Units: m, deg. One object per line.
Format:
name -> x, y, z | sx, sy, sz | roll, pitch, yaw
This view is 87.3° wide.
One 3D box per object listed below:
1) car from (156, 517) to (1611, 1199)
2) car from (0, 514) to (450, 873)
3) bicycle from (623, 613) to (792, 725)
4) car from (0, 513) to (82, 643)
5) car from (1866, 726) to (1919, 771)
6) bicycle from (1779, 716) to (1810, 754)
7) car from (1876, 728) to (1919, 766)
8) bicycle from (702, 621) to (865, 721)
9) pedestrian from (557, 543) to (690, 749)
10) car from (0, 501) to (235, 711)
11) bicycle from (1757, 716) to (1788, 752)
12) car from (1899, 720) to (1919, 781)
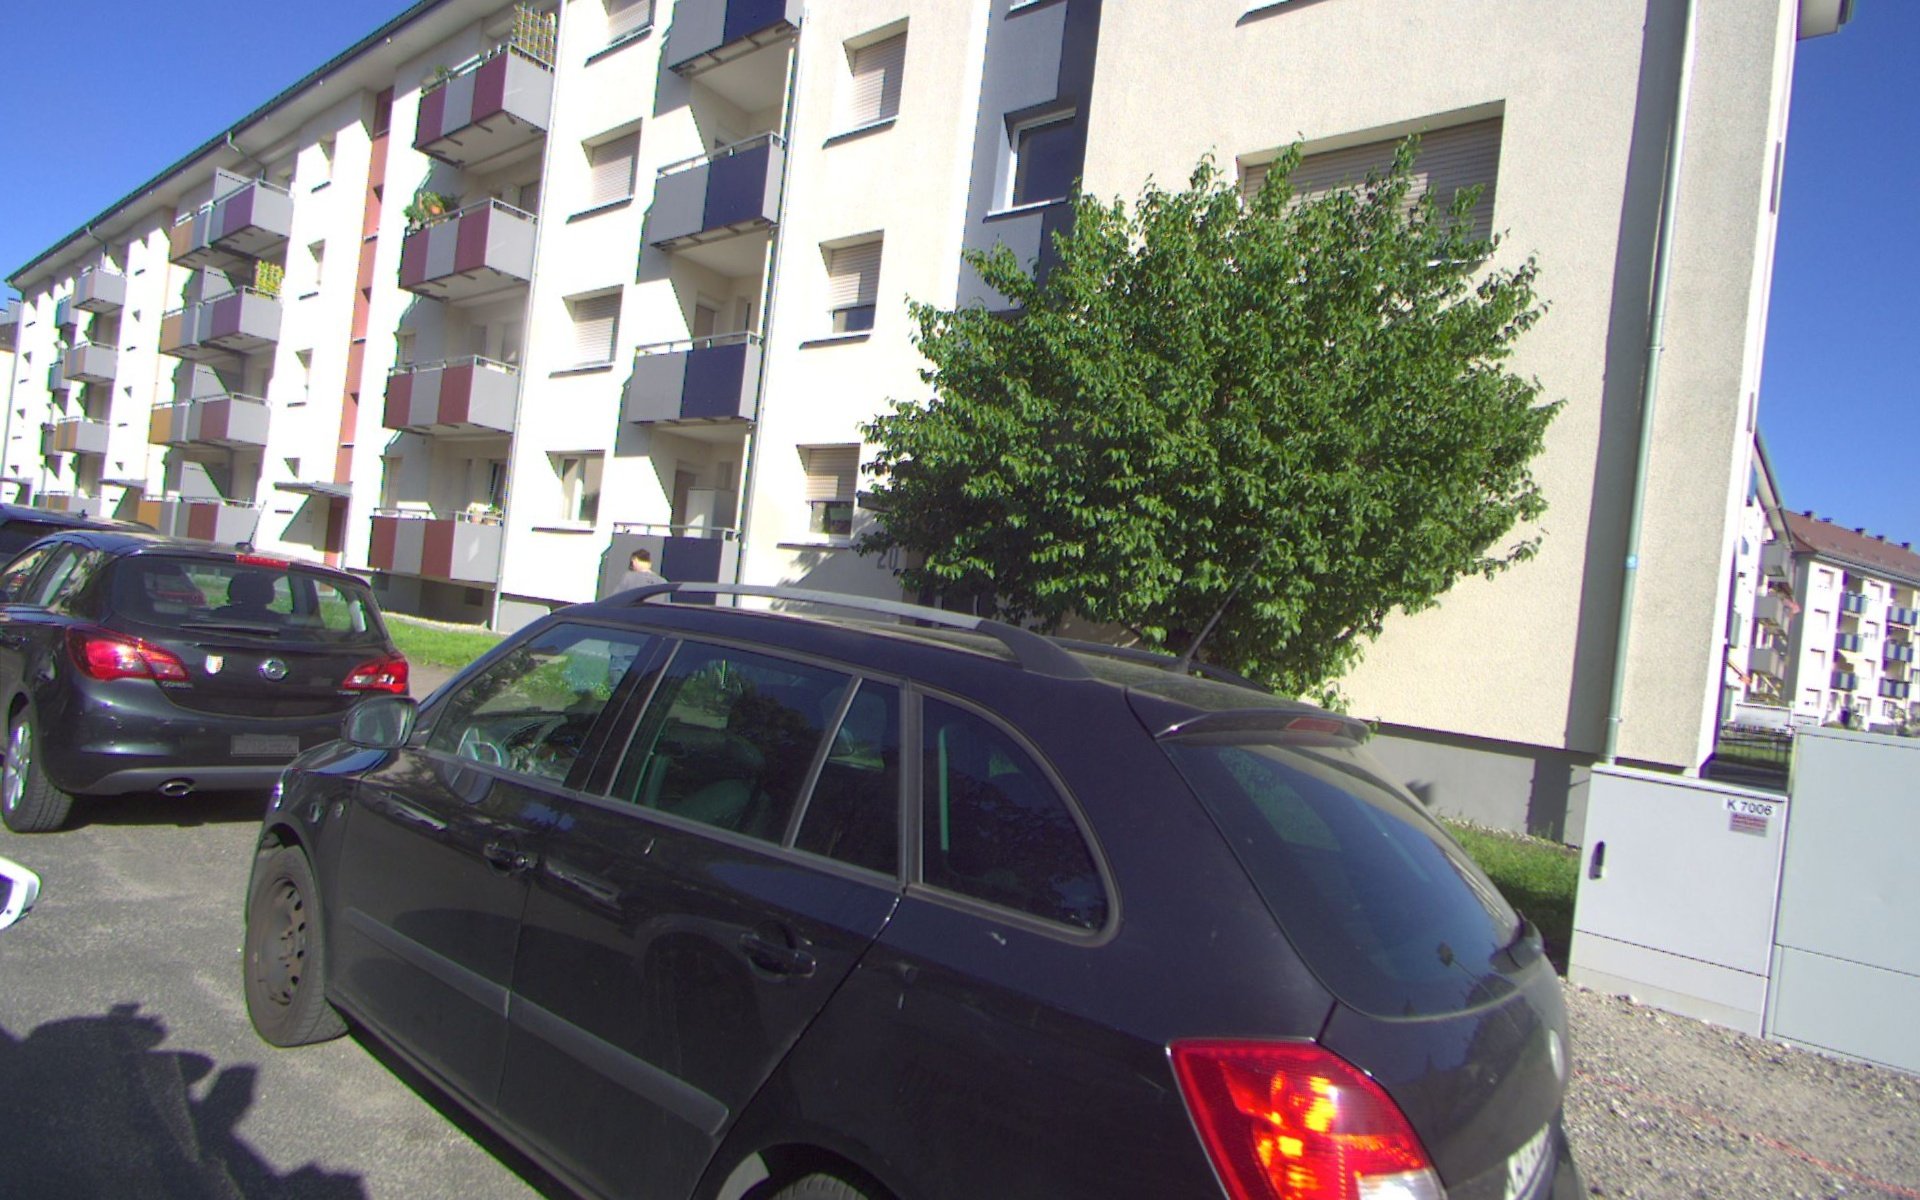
car -> -0.621, 0.702, 2.916 | 4.024, 1.567, 1.618 | 5, -1, 37
car -> -4.858, 0.350, 6.051 | 3.740, 1.502, 1.605 | 5, -2, 37
bicycle -> -2.997, 0.774, 11.792 | 2.248, 1.024, 0.485 | 6, 0, 35
car -> -13.182, -0.452, 13.042 | 4.017, 1.498, 1.753 | 5, -2, 36
car -> 37.769, 5.962, 40.453 | 1.645, 1.466, 3.844 | 8, 0, 40
bicycle -> 26.246, 4.223, 31.626 | 0.500, 1.106, 2.062 | 4, -2, 45
car -> 43.932, 6.848, 46.830 | 1.657, 1.437, 3.839 | 8, 0, 44
bicycle -> -2.255, 0.860, 12.634 | 2.248, 0.972, 0.485 | 6, 0, 35
pedestrian -> -3.133, 0.420, 9.372 | 0.828, 1.793, 0.645 | 6, -1, 37
car -> -8.660, -0.054, 9.372 | 4.190, 1.577, 1.753 | 5, -2, 36
bicycle -> 25.892, 4.255, 32.052 | 0.500, 1.057, 2.062 | 4, -2, 45
car -> 31.730, 4.940, 32.212 | 1.738, 1.862, 4.903 | 8, 0, 37
